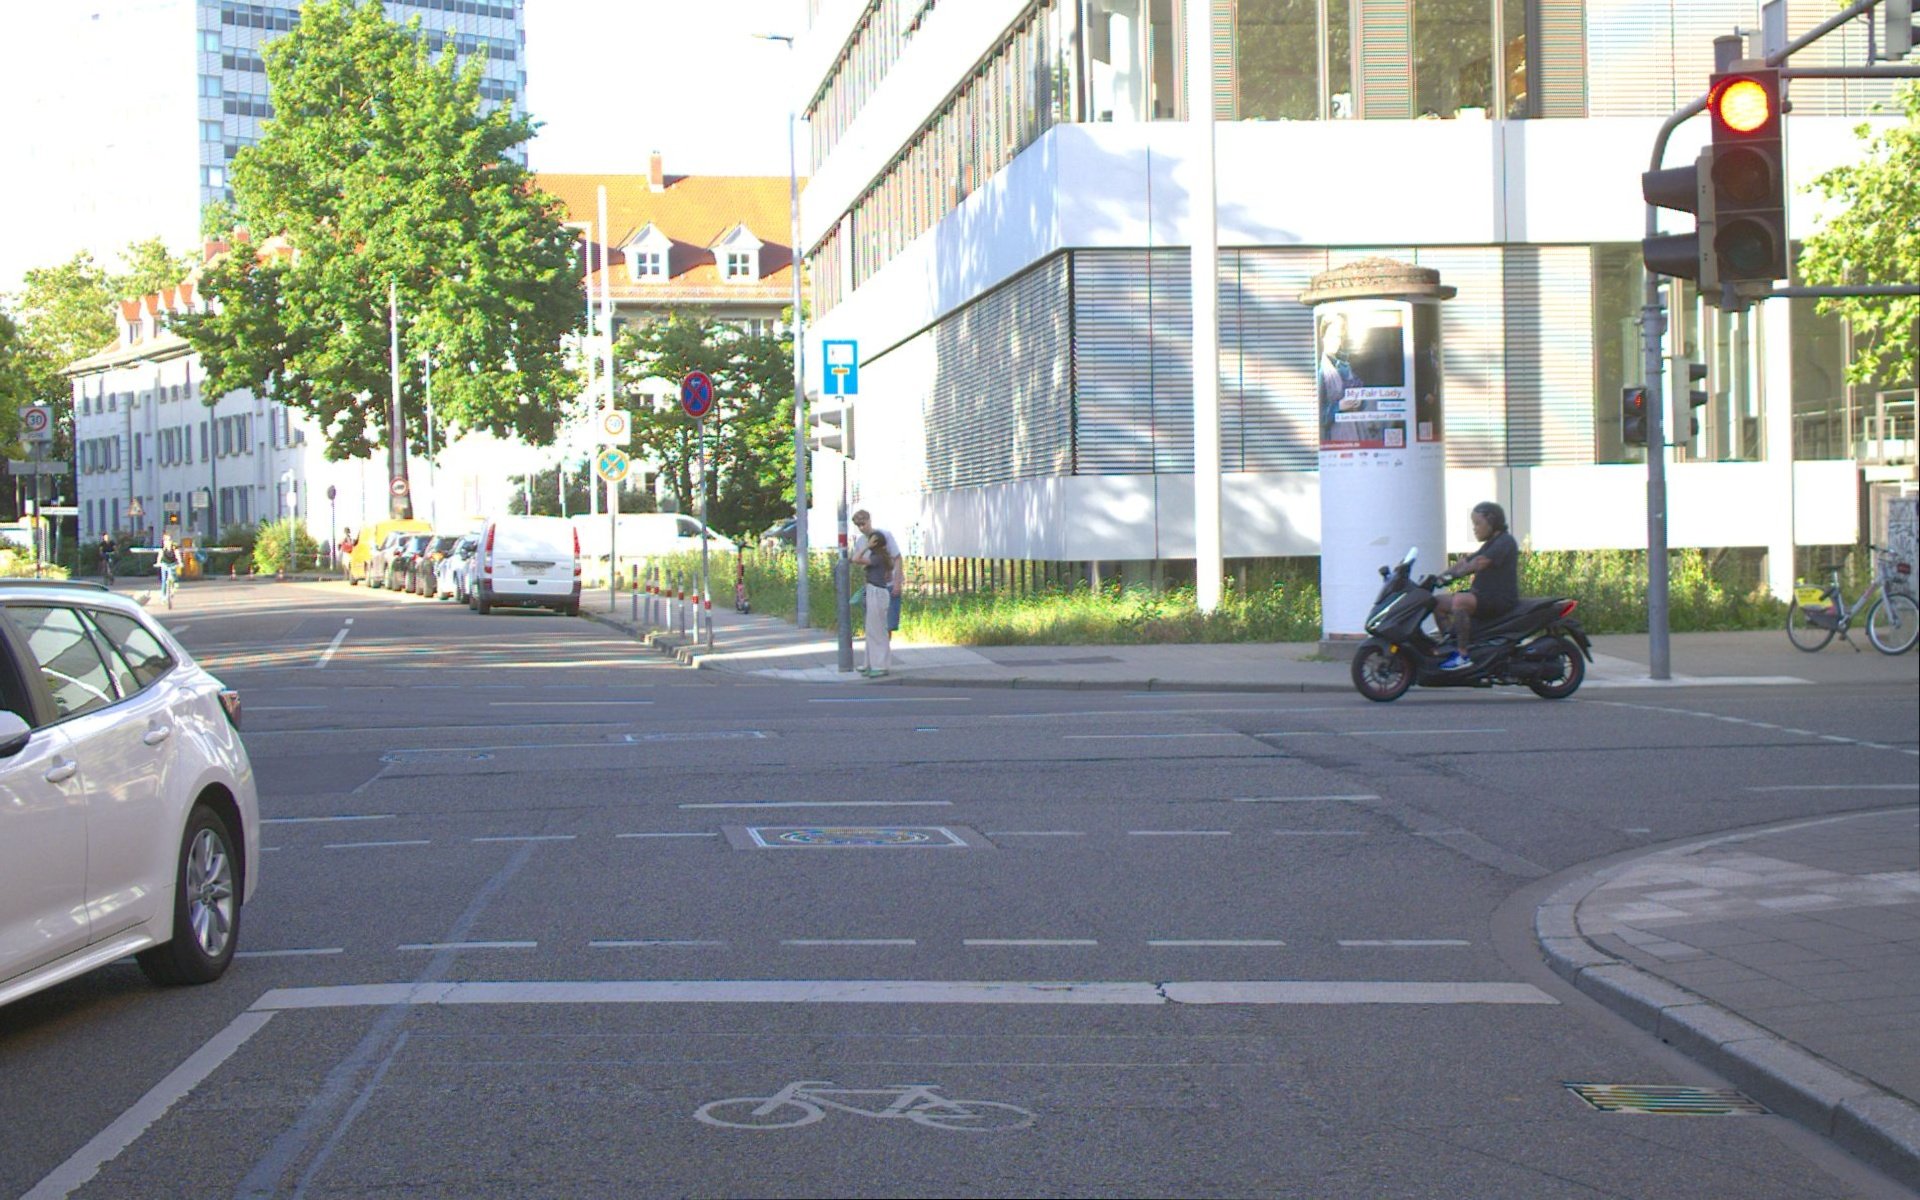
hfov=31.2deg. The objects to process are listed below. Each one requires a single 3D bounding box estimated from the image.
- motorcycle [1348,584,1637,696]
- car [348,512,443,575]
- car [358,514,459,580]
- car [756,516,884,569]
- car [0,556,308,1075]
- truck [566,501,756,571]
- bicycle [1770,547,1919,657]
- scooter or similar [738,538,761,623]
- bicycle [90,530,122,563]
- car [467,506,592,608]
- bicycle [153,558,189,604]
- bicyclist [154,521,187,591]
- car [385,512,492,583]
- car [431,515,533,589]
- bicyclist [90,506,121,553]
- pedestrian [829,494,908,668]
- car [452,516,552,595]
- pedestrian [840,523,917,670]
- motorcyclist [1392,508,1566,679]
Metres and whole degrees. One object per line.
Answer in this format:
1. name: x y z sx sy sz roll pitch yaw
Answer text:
1. motorcycle: 4.547 0.334 29.442 2.297 0.885 0.821 -1 1 -6
2. car: -15.698 -1.581 95.497 1.888 1.650 4.417 -1 2 -19
3. car: -14.579 -1.423 90.744 1.888 1.650 4.417 -1 2 -19
4. car: -4.251 -1.751 104.240 3.554 1.541 1.559 -1 1 -19
5. car: -3.680 0.675 10.563 1.887 1.471 4.544 -3 1 8
6. truck: -8.966 -1.930 103.052 5.336 2.007 2.001 -1 1 -19
7. bicycle: 9.314 0.005 36.040 0.507 1.045 1.687 -4 5 -35
8. scooter or similar: -3.588 -0.333 58.573 0.330 1.419 1.335 1 0 -6
9. bicycle: -28.308 -1.769 113.974 0.865 1.006 2.415 -4 1 -11
10. car: -8.132 -0.845 64.663 2.084 1.789 4.417 -1 2 -10
11. bicycle: -17.314 -0.433 75.465 0.615 0.966 1.842 -2 1 -9
12. bicyclist: -17.327 -0.969 75.467 0.615 1.527 0.903 -2 1 -9
13. car: -13.002 -1.338 85.562 1.888 1.650 4.417 -1 2 -19
14. car: -10.918 -1.121 78.315 1.888 1.550 4.417 -1 2 -13
15. bicyclist: -28.336 -2.325 113.979 0.865 1.510 1.019 -4 1 -11
16. pedestrian: -1.001 -0.215 37.809 0.560 1.844 0.677 -3 2 16
17. car: -9.745 -0.974 72.945 1.888 1.550 4.417 -1 2 -10
18. pedestrian: -0.885 -0.044 37.206 0.559 1.535 0.677 -5 2 -18
19. motorcyclist: 4.436 -0.066 29.431 1.294 1.414 0.821 -1 1 -6
